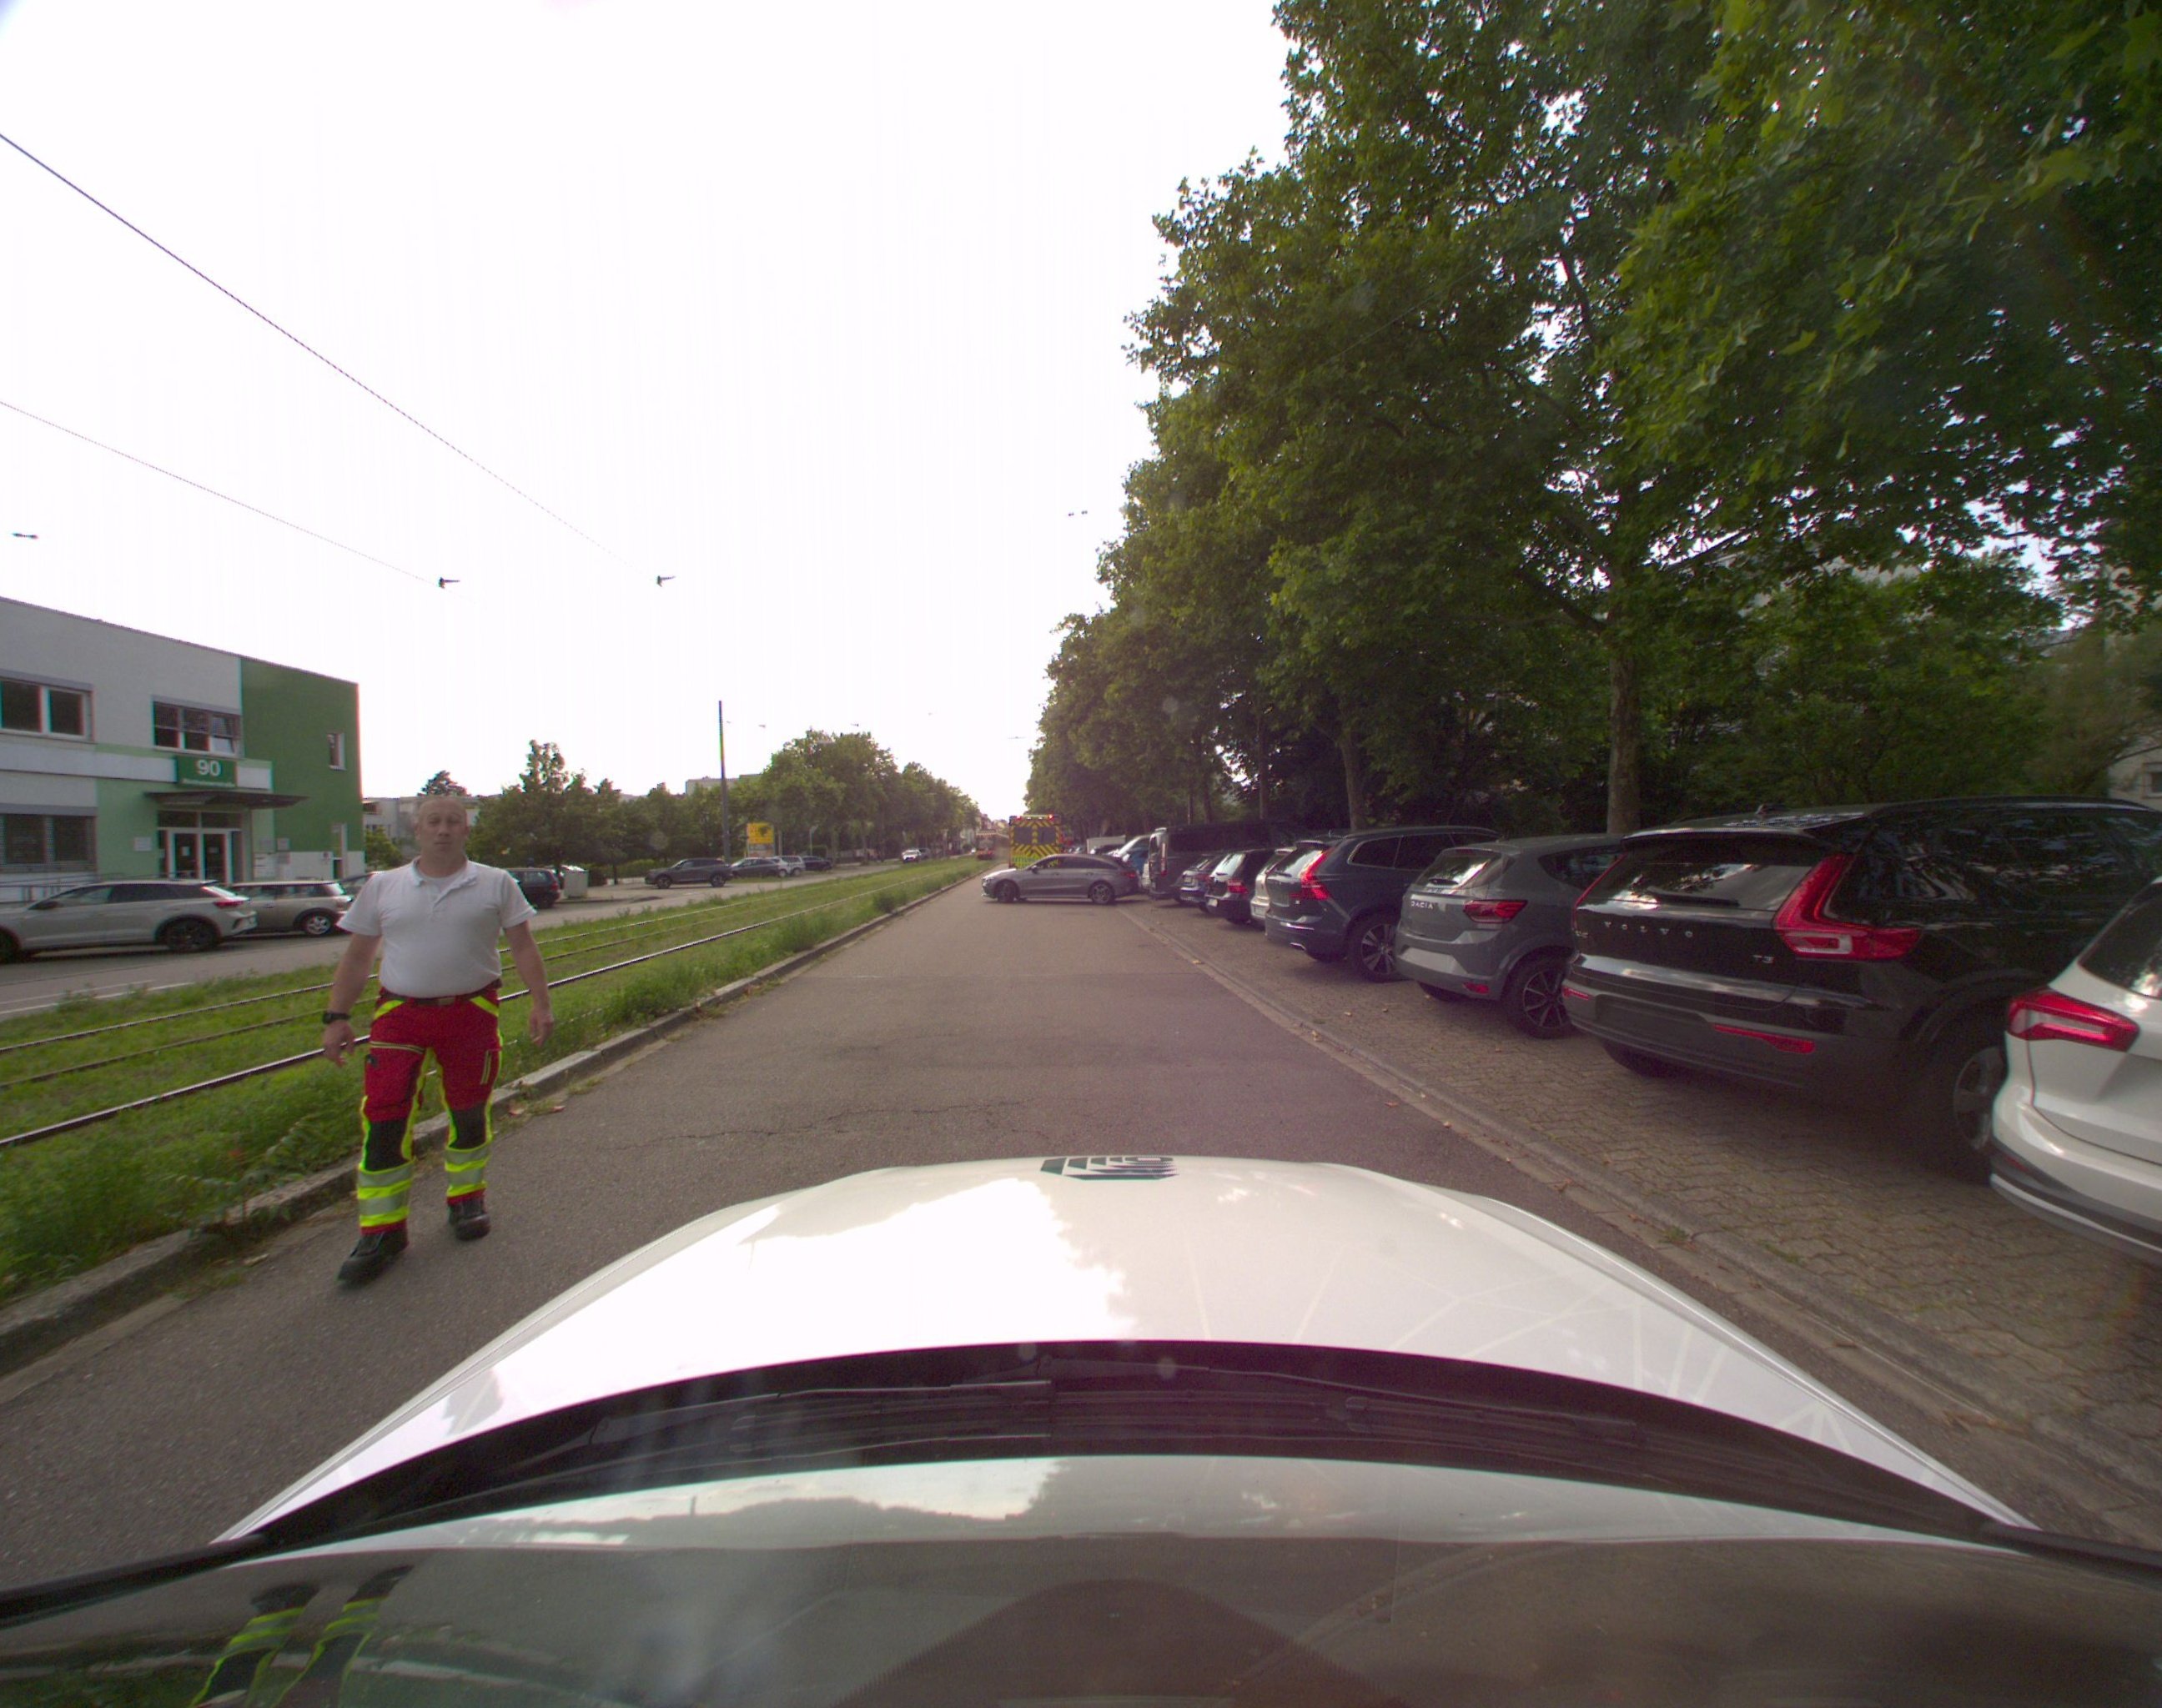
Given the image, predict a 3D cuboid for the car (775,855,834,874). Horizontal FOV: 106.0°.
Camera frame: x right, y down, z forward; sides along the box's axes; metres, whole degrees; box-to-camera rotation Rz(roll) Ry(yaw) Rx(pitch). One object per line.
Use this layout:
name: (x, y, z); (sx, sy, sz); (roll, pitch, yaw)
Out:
car: (-22.944, 0.847, 67.575); (4.259, 1.482, 1.860); (-1, 0, -43)

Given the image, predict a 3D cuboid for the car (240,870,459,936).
car: (-20.283, 1.303, 22.871); (4.251, 1.482, 1.864); (-3, 1, -33)

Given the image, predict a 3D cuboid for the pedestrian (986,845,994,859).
pedestrian: (-9.817, -0.215, 87.820); (0.879, 1.525, 0.750); (0, -1, -4)

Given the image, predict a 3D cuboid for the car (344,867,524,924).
car: (-20.394, 1.247, 25.951); (4.251, 1.482, 1.864); (-3, 1, -33)

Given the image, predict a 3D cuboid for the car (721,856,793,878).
car: (-22.429, 0.877, 56.379); (4.256, 1.482, 1.861); (-1, 0, -39)

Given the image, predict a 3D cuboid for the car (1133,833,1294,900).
car: (3.994, 0.353, 25.055); (4.537, 1.766, 1.853); (-3, 0, -4)

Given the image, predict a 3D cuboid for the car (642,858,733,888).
car: (-20.958, 0.970, 43.412); (4.246, 1.482, 1.866); (-1, 0, -28)

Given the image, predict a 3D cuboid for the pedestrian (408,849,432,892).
pedestrian: (-28.468, 0.705, 35.068); (0.545, 1.828, 0.508); (-2, 0, -5)

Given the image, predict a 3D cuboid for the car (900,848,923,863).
car: (-20.267, 0.166, 97.550); (1.990, 1.557, 4.364); (-3, 1, -4)

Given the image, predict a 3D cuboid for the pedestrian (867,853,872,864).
pedestrian: (-27.839, 0.559, 107.402); (0.417, 1.414, 0.470); (-2, 0, 21)

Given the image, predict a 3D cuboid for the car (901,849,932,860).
car: (-26.638, 0.045, 131.929); (4.654, 1.633, 1.860); (-2, 1, -42)

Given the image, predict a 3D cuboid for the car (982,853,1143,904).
car: (-0.480, 0.669, 23.735); (4.427, 1.385, 1.771); (0, 0, 8)

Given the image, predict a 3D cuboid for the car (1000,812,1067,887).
car: (-2.023, -0.193, 36.360); (2.634, 2.966, 6.295); (1, 0, -2)

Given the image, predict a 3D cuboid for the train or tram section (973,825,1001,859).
train or tram section: (-10.588, -1.281, 92.340); (2.507, 3.584, 7.435); (-3, 0, -4)

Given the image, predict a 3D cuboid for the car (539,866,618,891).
car: (-32.643, 1.602, 52.980); (3.975, 1.565, 1.777); (0, -1, -1)

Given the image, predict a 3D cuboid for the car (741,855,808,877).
car: (-22.338, 0.865, 59.402); (4.256, 1.482, 1.861); (-1, 0, -39)

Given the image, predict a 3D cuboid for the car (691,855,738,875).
car: (-34.304, 1.015, 76.202); (3.950, 1.750, 2.012); (0, 0, 28)

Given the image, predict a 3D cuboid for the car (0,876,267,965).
car: (-20.081, 1.319, 16.892); (4.255, 1.482, 1.862); (-3, 1, -38)

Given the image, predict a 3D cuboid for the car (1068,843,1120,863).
car: (1.181, -0.109, 74.621); (4.542, 1.608, 1.851); (-3, 0, -8)

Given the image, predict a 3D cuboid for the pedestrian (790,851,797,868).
pedestrian: (-28.359, 0.523, 80.260); (0.465, 1.676, 0.602); (-2, 0, -5)

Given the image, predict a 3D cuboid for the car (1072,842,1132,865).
car: (1.656, -0.041, 64.792); (4.542, 1.608, 1.851); (-3, 0, -8)

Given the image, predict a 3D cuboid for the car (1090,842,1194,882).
car: (2.821, 0.338, 38.126); (4.542, 1.608, 1.851); (-3, 0, -8)

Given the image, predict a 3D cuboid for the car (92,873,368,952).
car: (-20.366, 1.326, 19.800); (4.251, 1.482, 1.864); (-3, 1, -33)

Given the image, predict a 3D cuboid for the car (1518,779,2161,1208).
car: (5.133, 0.459, 4.407); (4.654, 1.626, 1.843); (-3, 1, -7)

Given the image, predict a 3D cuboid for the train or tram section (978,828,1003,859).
train or tram section: (-11.038, -1.236, 99.750); (2.507, 3.584, 7.435); (-3, 0, -4)

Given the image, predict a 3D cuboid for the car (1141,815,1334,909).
car: (3.962, 0.179, 21.096); (4.537, 2.123, 1.853); (-3, 0, -4)

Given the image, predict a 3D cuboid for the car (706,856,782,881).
car: (-22.107, 0.932, 53.484); (4.256, 1.482, 1.861); (-1, 0, -39)

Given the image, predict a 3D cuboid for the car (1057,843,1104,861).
car: (-0.114, -0.193, 82.779); (4.542, 1.608, 1.851); (-3, 0, -8)

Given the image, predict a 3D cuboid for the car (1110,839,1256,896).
car: (3.411, 0.421, 27.552); (4.543, 1.660, 1.851); (-3, 0, -8)

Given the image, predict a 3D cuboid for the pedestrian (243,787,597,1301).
pedestrian: (-2.481, 0.614, 3.202); (0.806, 1.686, 0.846); (-1, 0, -19)

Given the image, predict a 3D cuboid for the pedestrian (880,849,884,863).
pedestrian: (-24.829, 0.225, 101.635); (0.421, 1.730, 0.466); (-2, 0, -8)

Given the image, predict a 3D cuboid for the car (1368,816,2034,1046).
car: (4.950, 0.547, 6.926); (4.369, 1.501, 1.755); (-3, 1, -2)

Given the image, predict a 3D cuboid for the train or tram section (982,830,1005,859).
train or tram section: (-11.479, -1.191, 107.173); (2.507, 3.584, 7.435); (-3, 0, -4)

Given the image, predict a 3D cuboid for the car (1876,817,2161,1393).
car: (5.117, 0.562, 2.142); (4.654, 1.473, 1.843); (-3, 1, -7)

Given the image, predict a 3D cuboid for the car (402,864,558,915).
car: (-21.119, 1.204, 28.875); (4.251, 1.482, 1.864); (-3, 1, -33)

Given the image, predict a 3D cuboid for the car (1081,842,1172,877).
car: (2.392, 0.280, 43.260); (4.542, 1.608, 1.851); (-3, 0, -8)

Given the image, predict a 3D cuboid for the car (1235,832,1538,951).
car: (4.542, 0.517, 12.469); (3.958, 1.494, 1.754); (-3, 0, -4)

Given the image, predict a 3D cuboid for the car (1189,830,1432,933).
car: (4.223, 0.454, 15.178); (3.971, 1.605, 1.748); (-3, 0, -14)

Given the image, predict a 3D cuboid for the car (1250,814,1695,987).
car: (4.388, 0.478, 9.579); (4.369, 1.639, 1.755); (-3, 0, -2)

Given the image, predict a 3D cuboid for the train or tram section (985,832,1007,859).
train or tram section: (-11.914, -1.146, 114.594); (2.507, 3.584, 7.435); (-3, 0, -4)

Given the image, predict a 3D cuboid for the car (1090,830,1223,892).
car: (2.742, 0.225, 30.047); (4.542, 2.000, 1.851); (-3, 0, -8)

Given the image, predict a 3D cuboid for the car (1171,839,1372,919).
car: (4.111, 0.517, 17.961); (3.958, 1.494, 1.753); (-3, 0, -4)

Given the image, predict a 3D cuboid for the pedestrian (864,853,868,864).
pedestrian: (-27.876, 0.586, 105.532); (0.421, 1.473, 0.466); (-2, 0, -8)

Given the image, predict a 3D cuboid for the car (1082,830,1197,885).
car: (2.443, 0.131, 34.626); (4.542, 2.043, 1.851); (-3, 0, -8)
